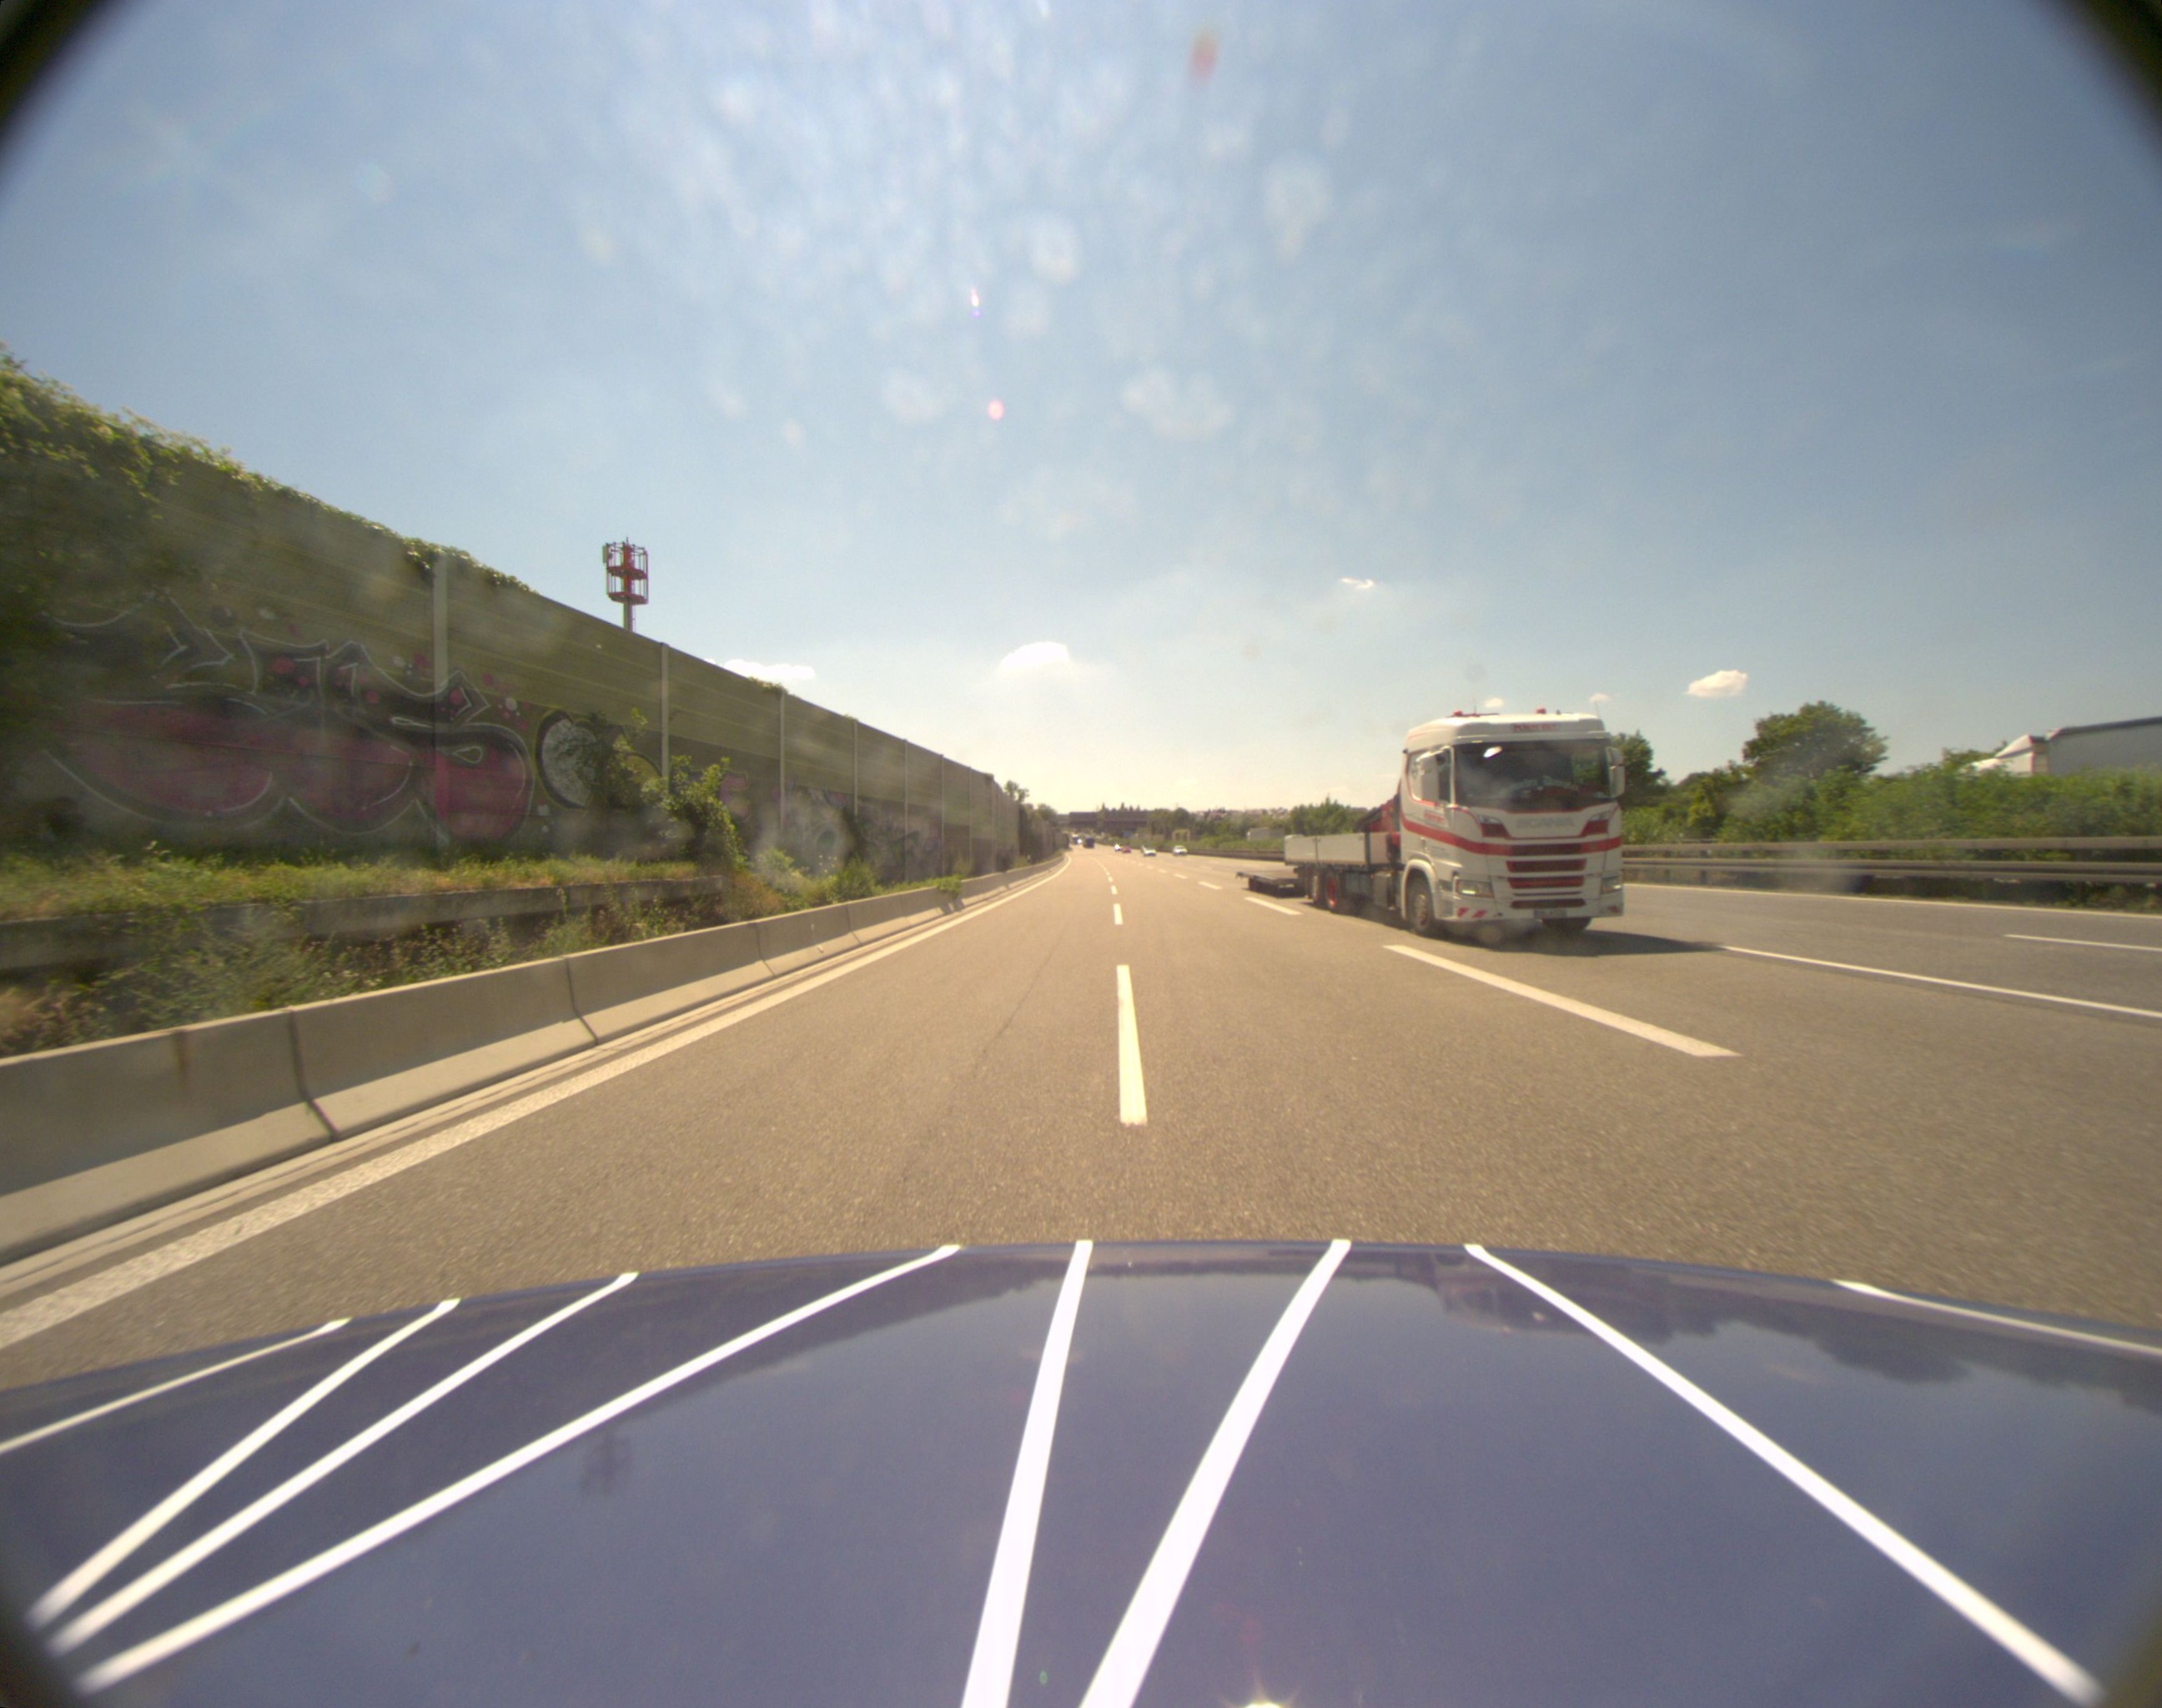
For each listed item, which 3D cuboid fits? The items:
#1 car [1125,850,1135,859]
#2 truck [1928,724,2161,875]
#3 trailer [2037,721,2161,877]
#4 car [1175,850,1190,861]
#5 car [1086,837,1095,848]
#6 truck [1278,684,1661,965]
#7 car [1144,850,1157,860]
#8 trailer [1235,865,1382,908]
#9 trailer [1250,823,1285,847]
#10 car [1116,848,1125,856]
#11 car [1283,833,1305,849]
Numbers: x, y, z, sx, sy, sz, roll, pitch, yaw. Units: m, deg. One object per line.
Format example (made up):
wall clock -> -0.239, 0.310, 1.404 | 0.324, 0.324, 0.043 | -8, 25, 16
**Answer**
car -> 10.818, 0.087, 167.202 | 1.998, 1.832, 4.000 | -2, 0, 1
truck -> 30.152, -1.539, 23.128 | 3.340, 4.066, 4.829 | -2, 0, 3
trailer -> 29.829, -1.493, 15.557 | 3.400, 4.066, 13.929 | -2, 0, 3
car -> 16.020, 0.261, 119.932 | 1.883, 1.543, 4.001 | -2, 0, 1
car -> 3.096, -3.649, 242.592 | 2.116, 3.284, 6.442 | -2, 0, -5
truck -> 6.745, -0.428, 15.816 | 2.721, 3.780, 10.672 | -2, 0, 2
car -> 11.537, 0.178, 126.183 | 1.786, 1.494, 4.171 | -1, 1, 2
trailer -> 7.111, 0.970, 24.980 | 2.721, 0.929, 7.760 | -2, 0, 2
trailer -> 33.733, -3.321, 137.947 | 2.544, 3.924, 13.718 | -2, 0, -1
car -> 9.802, -0.482, 189.206 | 1.998, 1.832, 4.000 | -2, 0, 1
car -> 30.230, -1.855, 107.885 | 1.998, 2.003, 3.998 | -2, 3, 1
